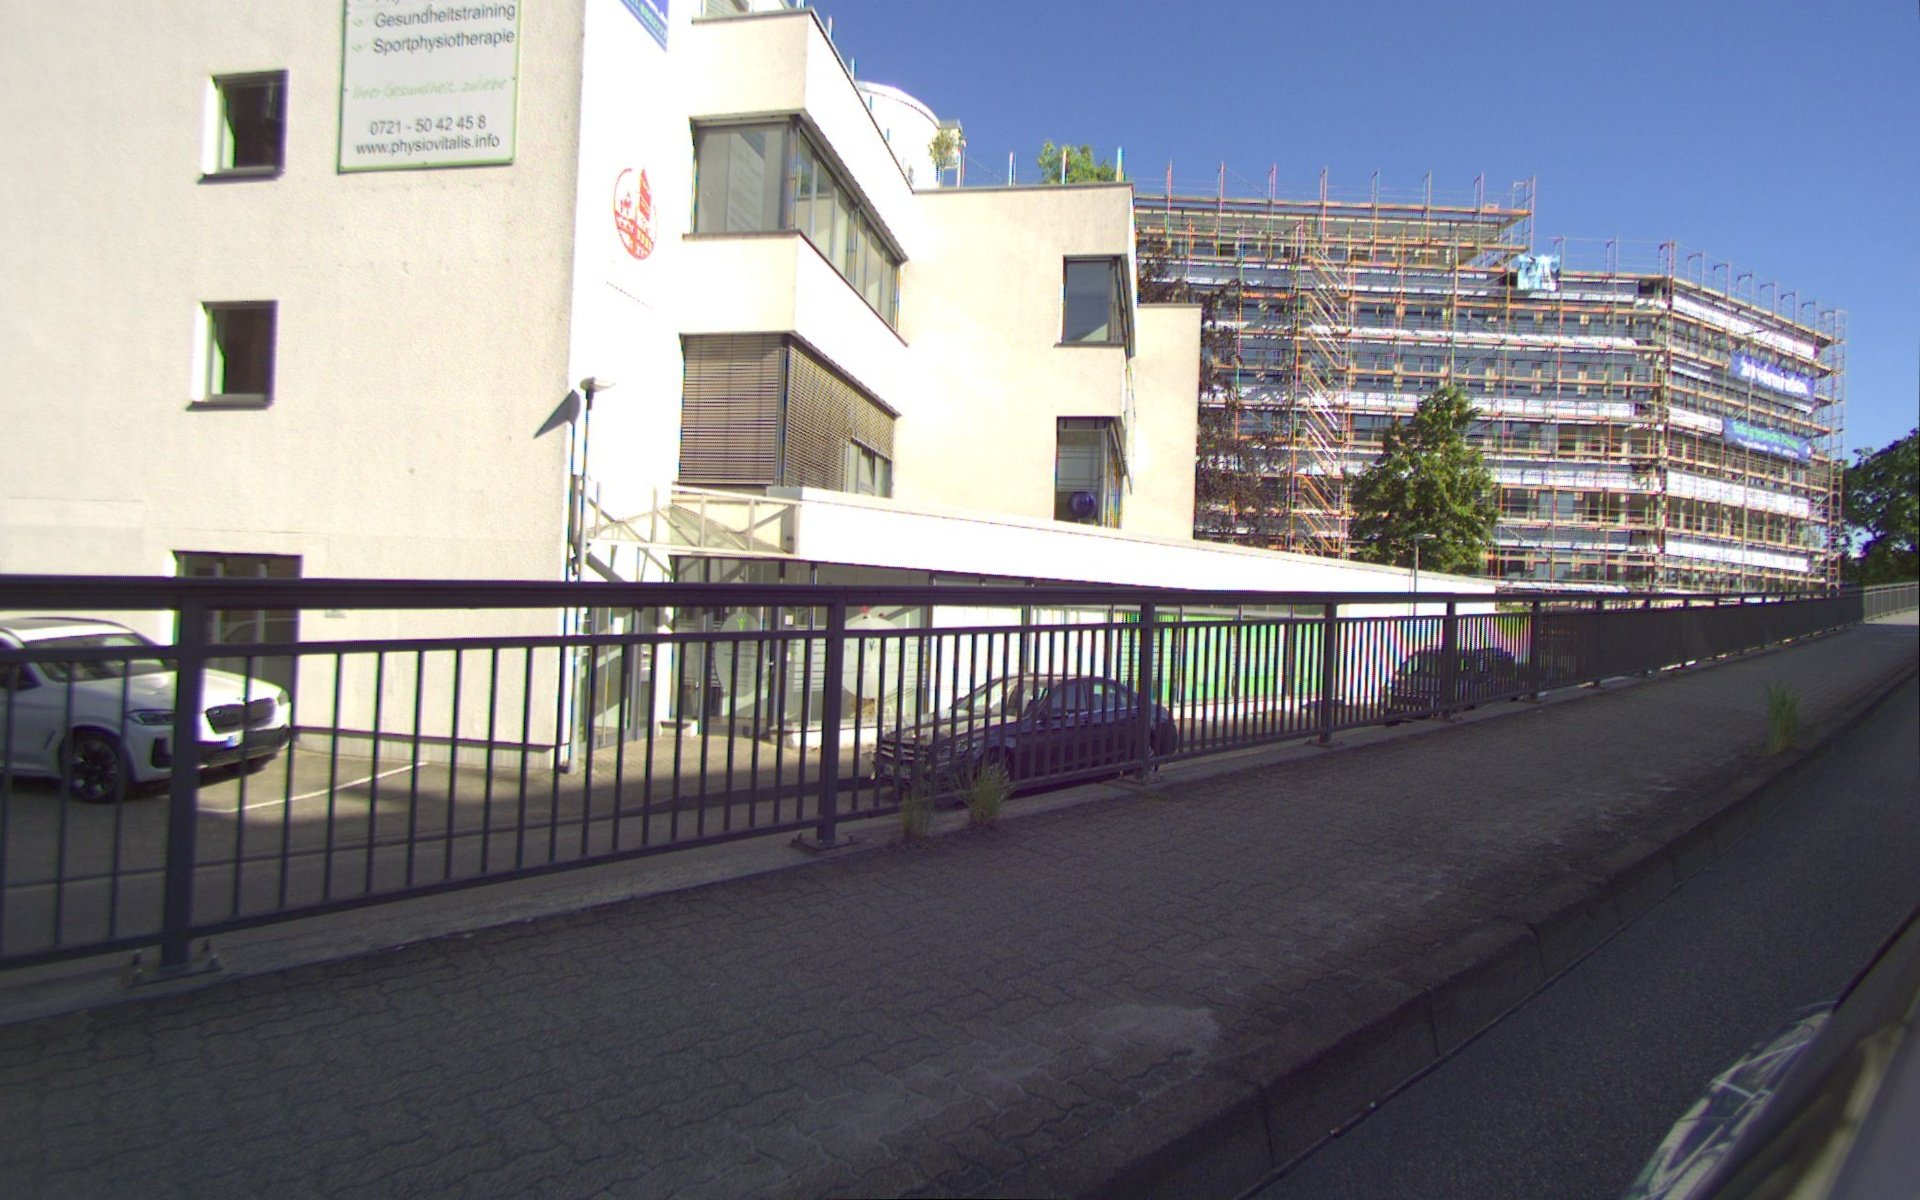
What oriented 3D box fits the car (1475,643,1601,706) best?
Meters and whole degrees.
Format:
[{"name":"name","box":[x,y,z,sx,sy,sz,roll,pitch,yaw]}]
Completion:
[{"name":"car","box":[14.986,1.871,26.157,3.931,1.410,1.723,1,-1,-42]}]

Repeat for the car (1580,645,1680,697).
[{"name":"car","box":[21.093,2.178,31.797,3.931,1.410,1.723,1,-1,-42]}]

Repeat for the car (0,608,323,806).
[{"name":"car","box":[-9.542,1.020,10.844,4.455,1.707,1.840,2,0,9]}]

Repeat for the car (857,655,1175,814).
[{"name":"car","box":[0.813,1.547,12.809,3.929,1.541,1.724,1,-1,-41]}]

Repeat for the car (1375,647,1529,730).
[{"name":"car","box":[10.864,1.864,22.228,3.931,1.541,1.723,1,-1,-42]}]
